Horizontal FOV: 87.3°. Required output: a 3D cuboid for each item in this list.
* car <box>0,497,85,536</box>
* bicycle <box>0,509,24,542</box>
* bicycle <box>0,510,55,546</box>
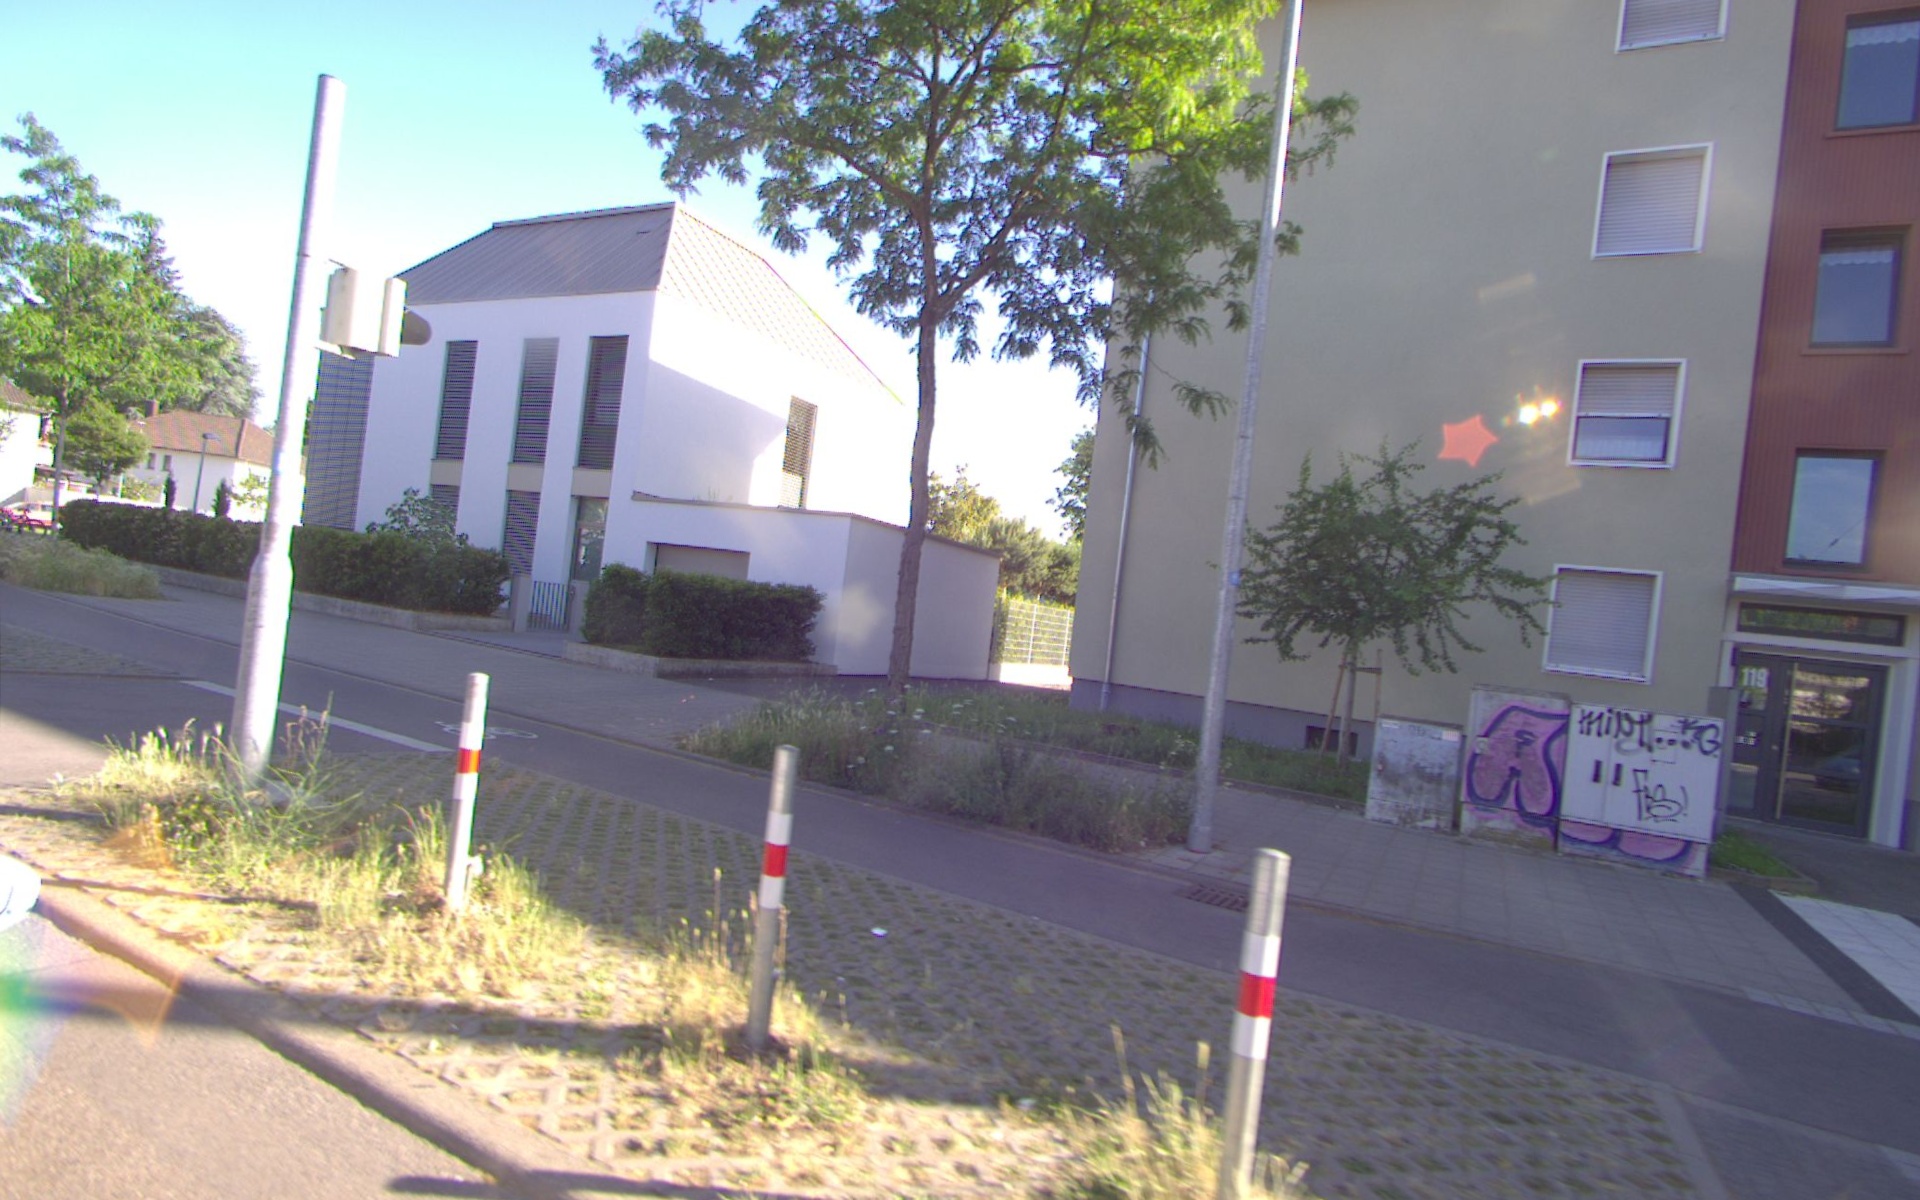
[{"bbox_3d":[-49.597,-4.492,53.422,1.946,1.526,4.177,7,-1,22],"label":"car"},{"bbox_3d":[-31.597,-2.497,32.804,0.408,0.990,1.474,7,-1,22],"label":"bicycle"},{"bbox_3d":[-30.288,-2.341,32.170,0.482,0.990,1.903,7,-1,22],"label":"bicycle"}]
